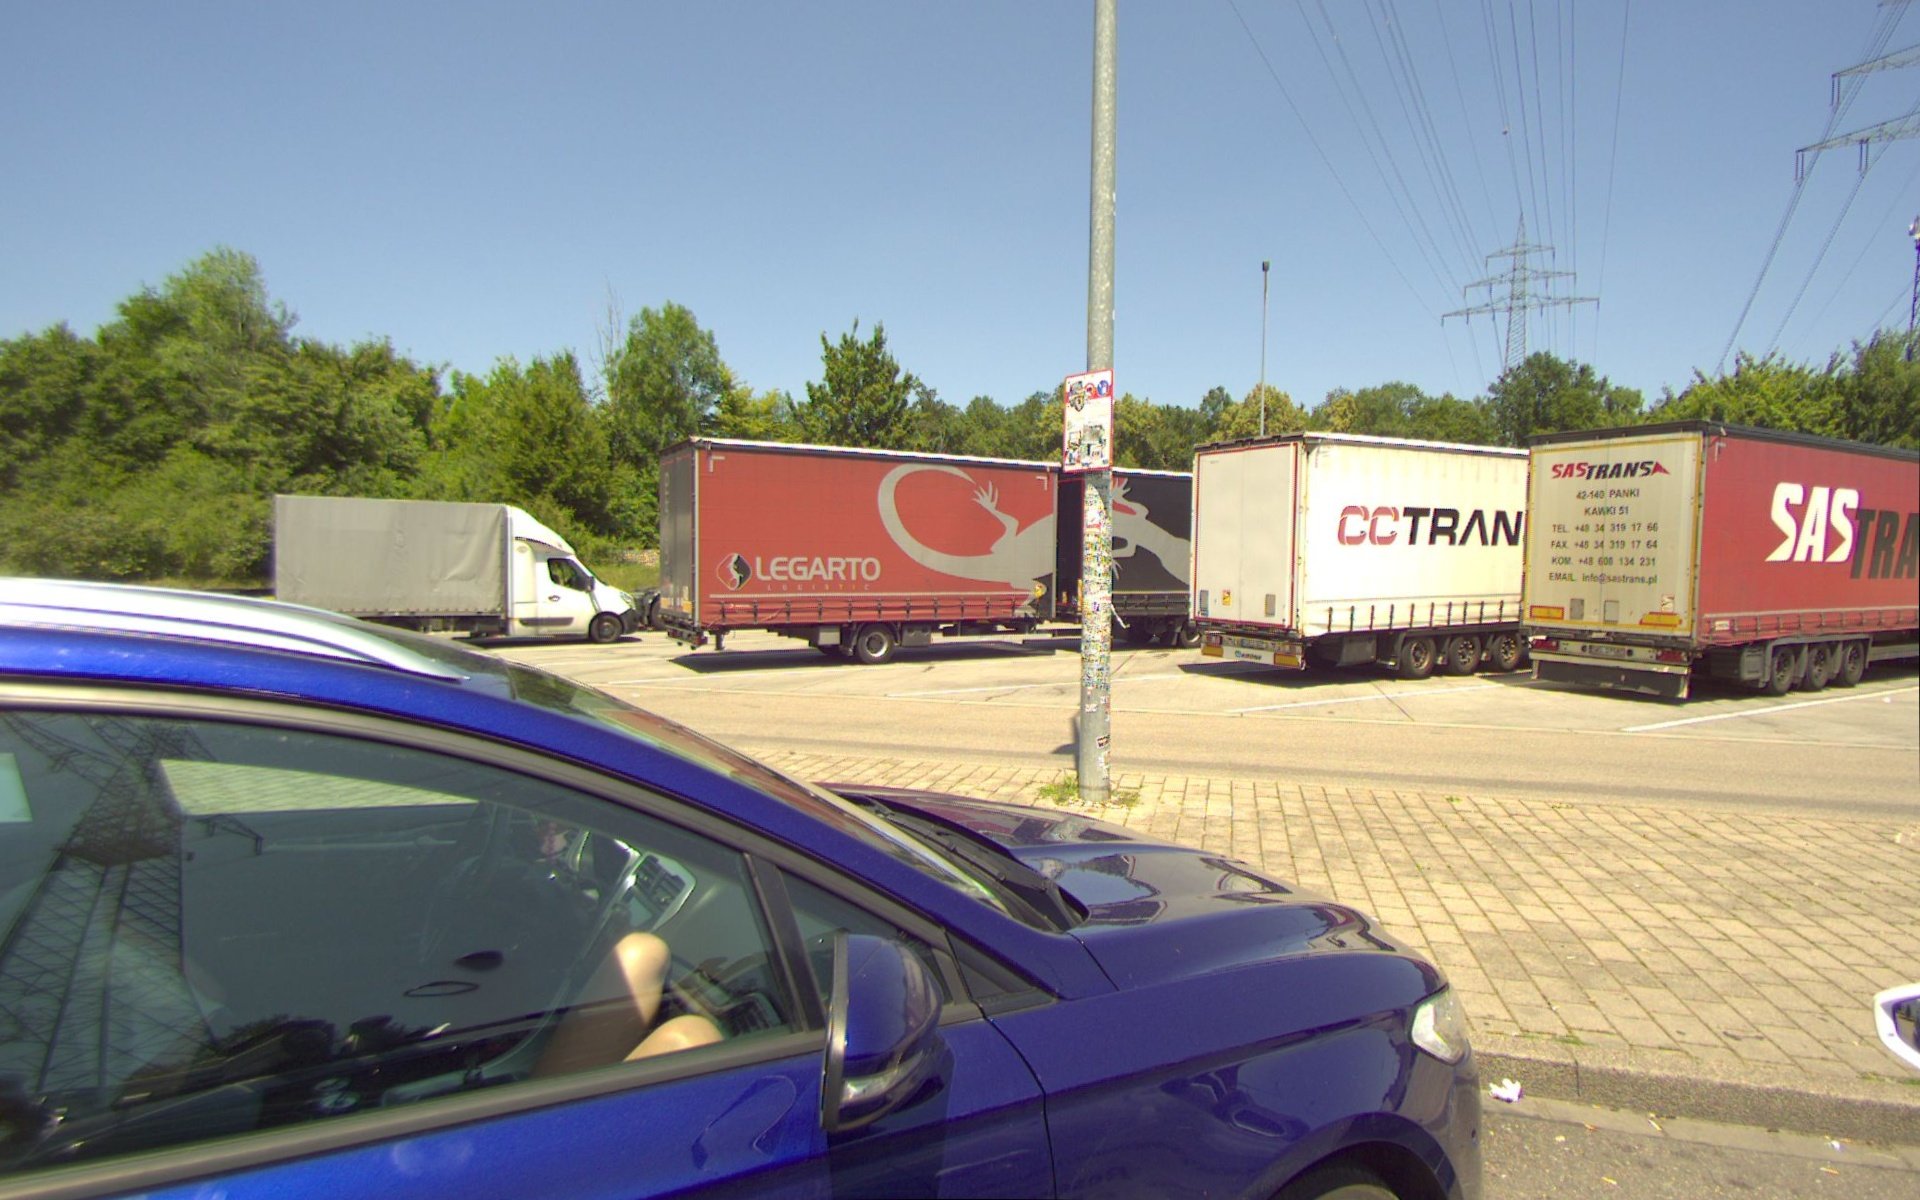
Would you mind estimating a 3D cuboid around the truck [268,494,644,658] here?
[{"bbox_3d":[-11.198,-0.569,22.894,7.254,3.254,2.515,-1,3,-30],"label":"truck"}]

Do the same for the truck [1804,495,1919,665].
[{"bbox_3d":[21.732,-0.438,22.297,5.418,3.475,2.838,-1,3,-30],"label":"truck"}]

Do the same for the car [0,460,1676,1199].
[{"bbox_3d":[-0.976,0.655,1.460,4.592,1.502,1.727,0,0,-33],"label":"car"}]

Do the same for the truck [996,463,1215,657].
[{"bbox_3d":[3.360,-0.905,23.351,4.273,4.072,2.689,-1,3,-30],"label":"truck"}]

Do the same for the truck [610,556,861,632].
[{"bbox_3d":[-6.477,-0.160,29.517,6.961,2.040,1.984,0,0,-30],"label":"truck"}]

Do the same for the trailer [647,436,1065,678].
[{"bbox_3d":[-1.922,-0.829,20.257,7.996,4.101,2.696,-1,3,-30],"label":"trailer"}]

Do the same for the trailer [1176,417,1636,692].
[{"bbox_3d":[8.871,-0.823,19.318,10.049,4.267,2.714,-1,3,-30],"label":"trailer"}]

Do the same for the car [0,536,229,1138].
[{"bbox_3d":[-4.549,0.584,2.245,4.592,1.554,1.726,0,1,-33],"label":"car"}]

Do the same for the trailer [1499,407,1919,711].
[{"bbox_3d":[15.410,-0.707,18.552,13.559,4.189,2.892,-1,3,-30],"label":"trailer"}]

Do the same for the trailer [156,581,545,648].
[{"bbox_3d":[-14.826,0.264,25.177,7.996,1.394,2.211,-1,3,-30],"label":"trailer"}]
